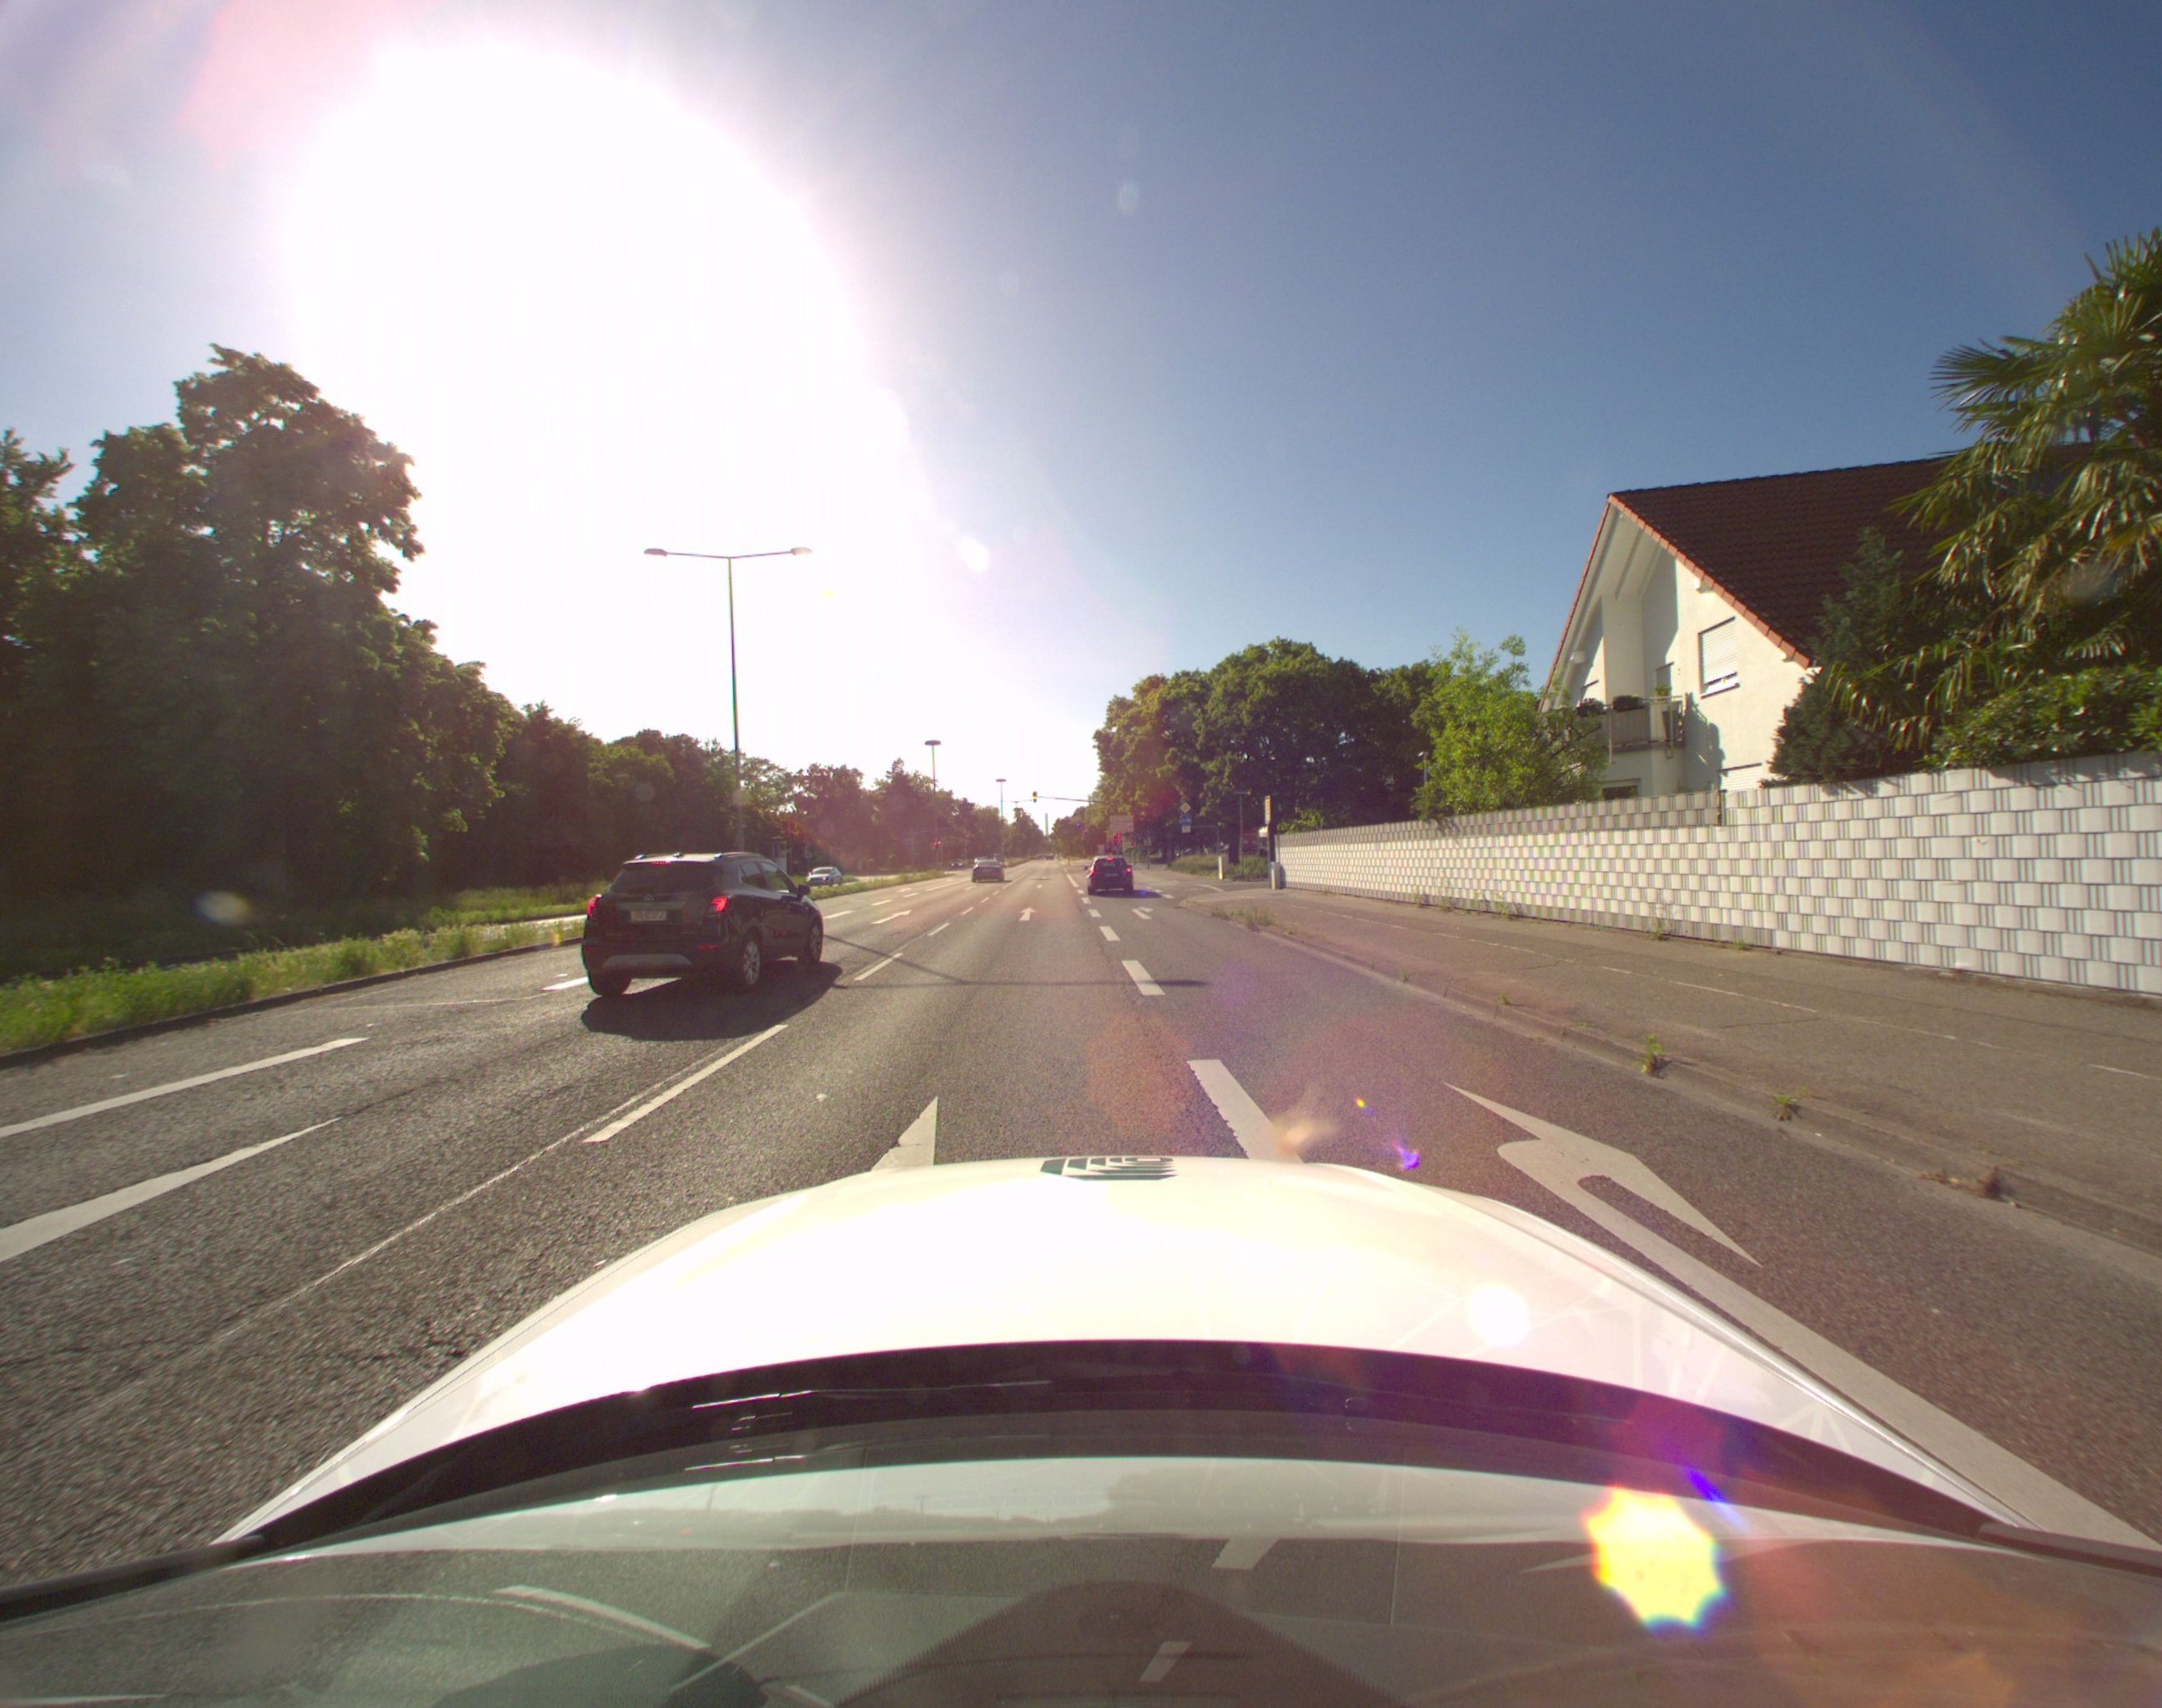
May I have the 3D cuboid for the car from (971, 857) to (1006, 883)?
[{"bbox_3d":[-5.934,1.020,52.533,1.884,1.552,3.997,-1,-1,-2],"label":"car"}]

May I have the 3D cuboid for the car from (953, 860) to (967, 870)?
[{"bbox_3d":[-20.757,1.886,139.383,1.859,1.684,4.257,1,-1,-2],"label":"car"}]

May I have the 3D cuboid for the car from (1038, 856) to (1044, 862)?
[{"bbox_3d":[-11.960,1.430,242.559,1.820,1.615,3.836,-2,0,-3],"label":"car"}]

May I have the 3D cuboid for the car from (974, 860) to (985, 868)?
[{"bbox_3d":[-22.169,2.073,177.520,1.859,1.684,3.997,1,0,-2],"label":"car"}]

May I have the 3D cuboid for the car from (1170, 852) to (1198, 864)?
[{"bbox_3d":[15.049,0.550,118.778,3.733,1.685,1.689,2,-1,-28],"label":"car"}]

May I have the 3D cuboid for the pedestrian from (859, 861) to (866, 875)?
[{"bbox_3d":[-29.557,1.887,110.205,0.842,1.836,0.550,0,-3,2],"label":"pedestrian"}]

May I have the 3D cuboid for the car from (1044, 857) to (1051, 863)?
[{"bbox_3d":[-8.776,1.557,213.588,1.728,1.585,3.836,1,-1,-3],"label":"car"}]

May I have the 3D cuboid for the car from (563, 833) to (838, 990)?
[{"bbox_3d":[-4.719,0.637,10.909,1.691,1.632,4.414,-1,-1,-2],"label":"car"}]

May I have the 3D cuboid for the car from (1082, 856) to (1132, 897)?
[{"bbox_3d":[0.973,0.856,32.251,1.751,1.509,3.805,0,-1,-2],"label":"car"}]

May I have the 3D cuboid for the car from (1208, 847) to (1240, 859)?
[{"bbox_3d":[19.259,-0.164,109.641,3.850,1.482,1.792,1,-1,-21],"label":"car"}]

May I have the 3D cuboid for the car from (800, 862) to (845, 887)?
[{"bbox_3d":[-18.453,1.478,58.318,1.907,1.703,4.404,1,-2,-1],"label":"car"}]

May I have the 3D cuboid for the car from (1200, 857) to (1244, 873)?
[{"bbox_3d":[15.255,1.212,88.333,4.591,1.574,2.005,-1,-2,9],"label":"car"}]
